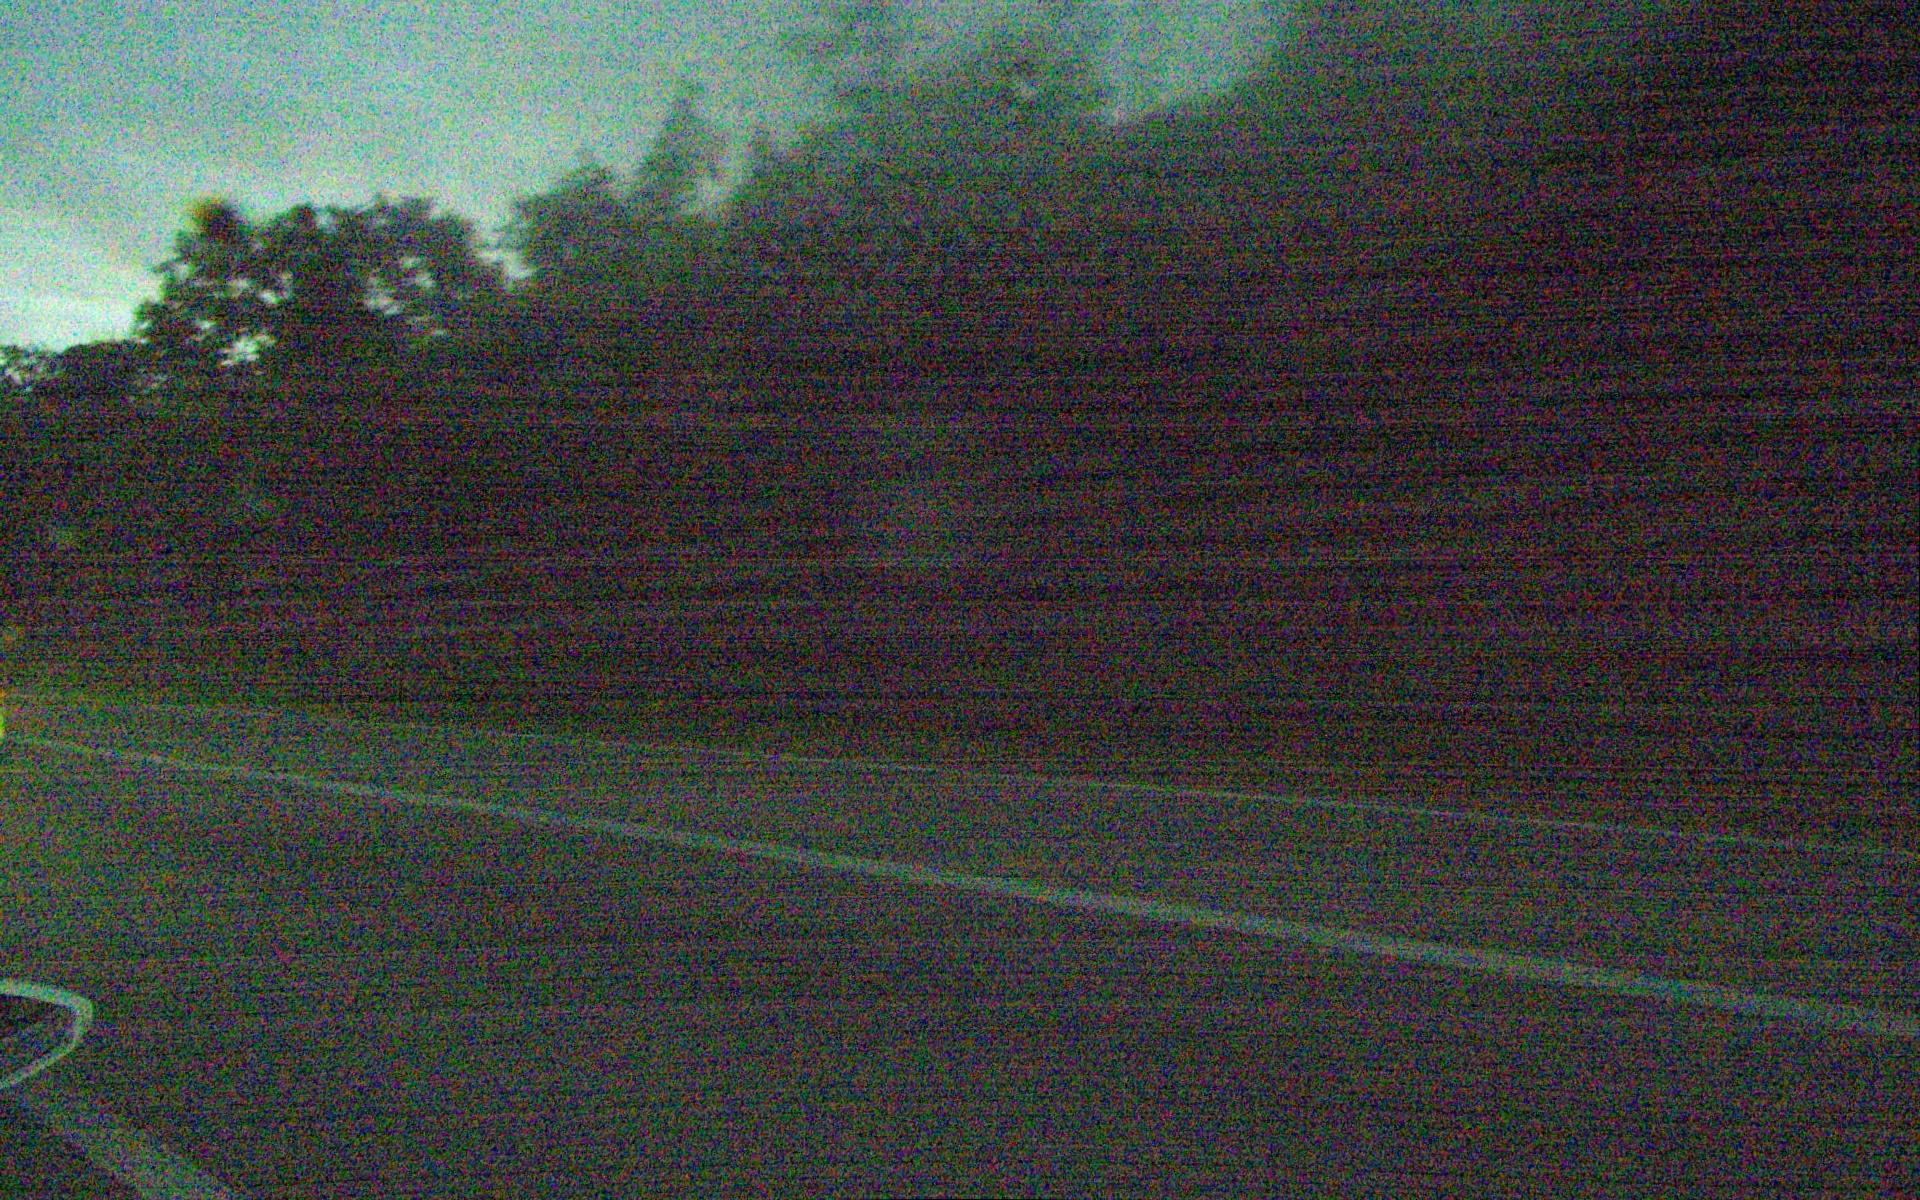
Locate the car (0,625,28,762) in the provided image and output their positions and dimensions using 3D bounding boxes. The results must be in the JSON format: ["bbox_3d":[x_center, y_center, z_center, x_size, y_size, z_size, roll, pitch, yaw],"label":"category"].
[{"bbox_3d":[-12.819,1.036,11.692,4.336,1.495,1.821,1,1,33],"label":"car"}]
